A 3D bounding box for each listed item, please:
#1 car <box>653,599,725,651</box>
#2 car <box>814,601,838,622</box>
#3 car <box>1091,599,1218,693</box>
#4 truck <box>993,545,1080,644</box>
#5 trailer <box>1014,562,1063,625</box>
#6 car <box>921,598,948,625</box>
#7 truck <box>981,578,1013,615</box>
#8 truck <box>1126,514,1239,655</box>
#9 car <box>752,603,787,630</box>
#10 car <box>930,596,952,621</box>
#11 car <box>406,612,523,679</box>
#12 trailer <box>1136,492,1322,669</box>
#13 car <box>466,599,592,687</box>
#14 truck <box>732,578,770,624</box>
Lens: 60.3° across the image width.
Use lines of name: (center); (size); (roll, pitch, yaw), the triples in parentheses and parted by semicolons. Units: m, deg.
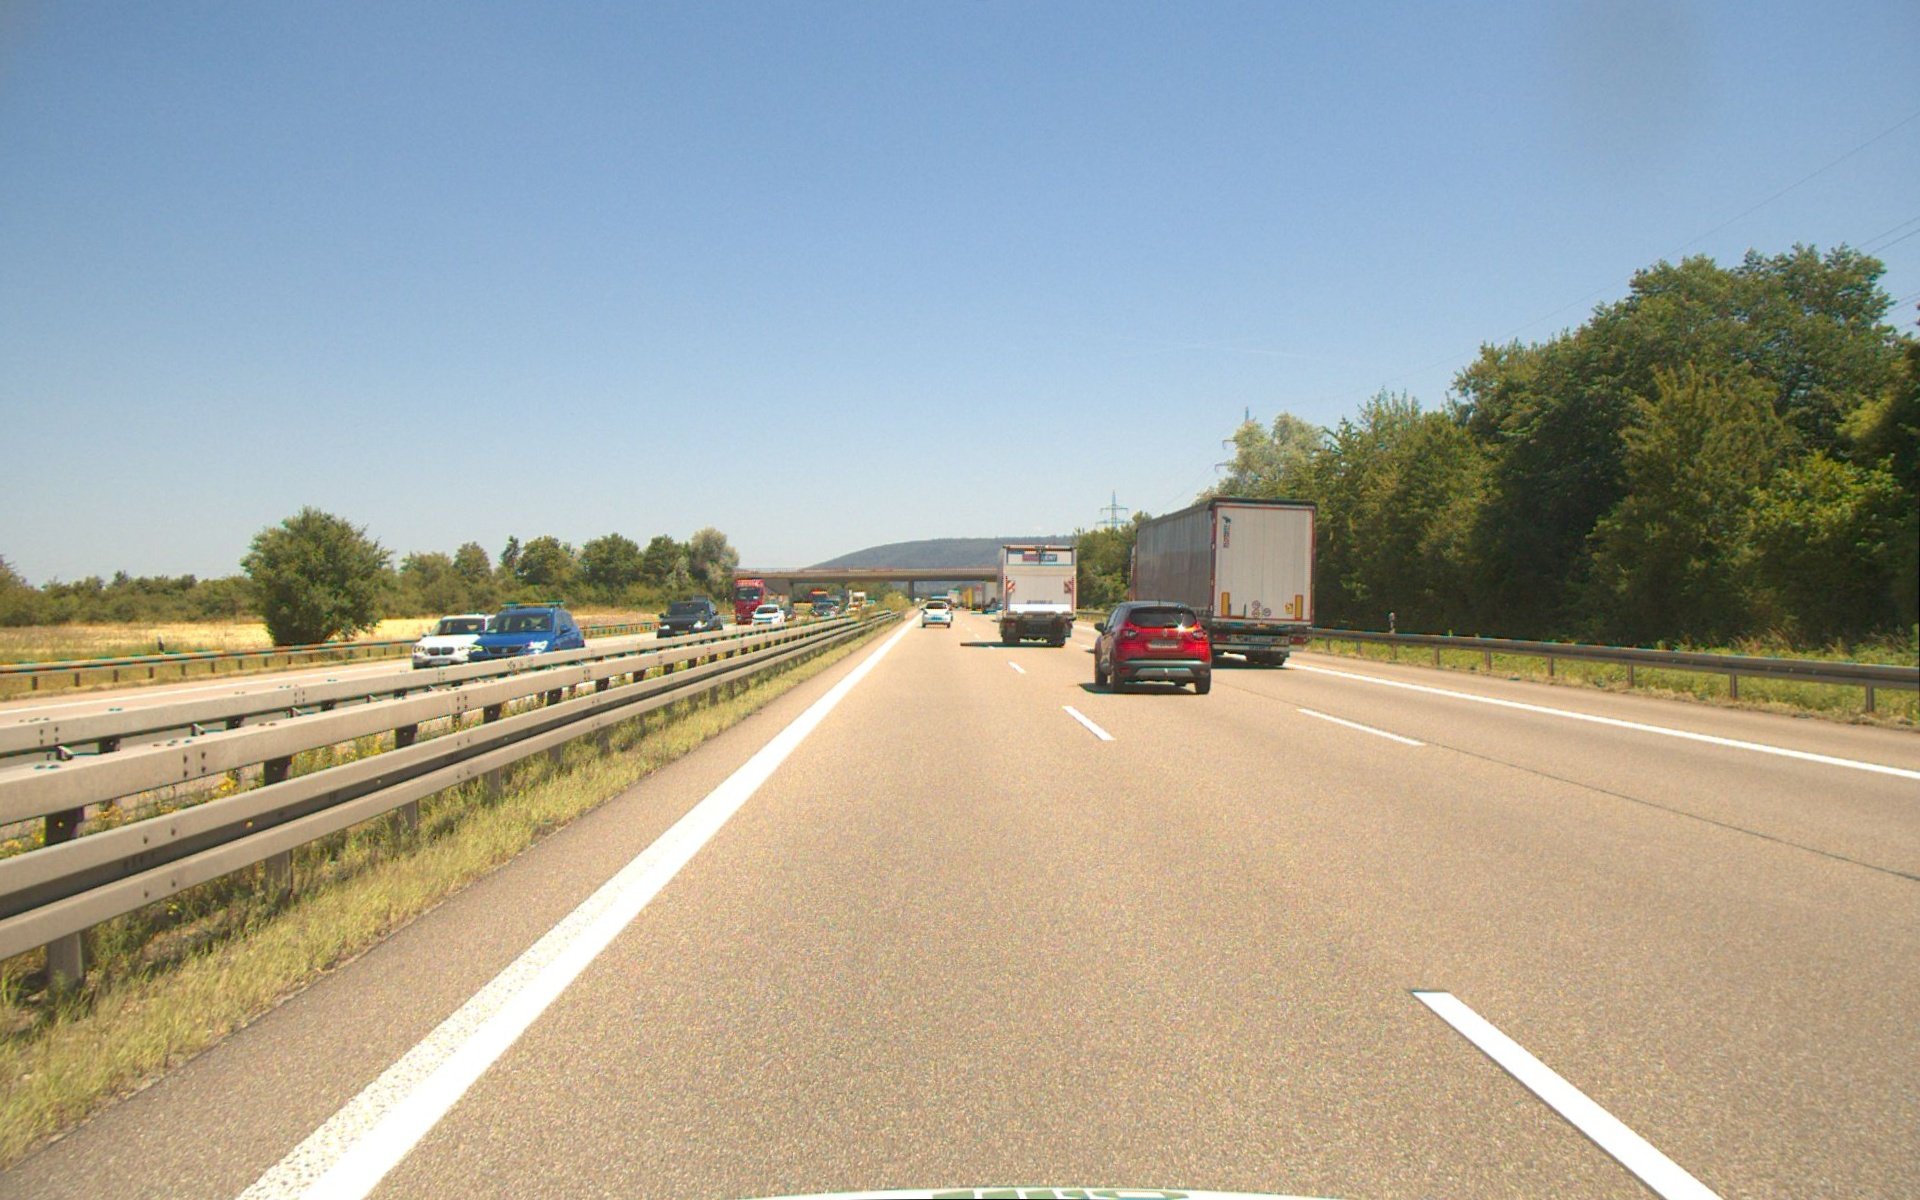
car: (-9.872, 0.881, 60.476); (1.919, 1.803, 4.442); (-1, 0, -1)
car: (-11.191, 0.970, 138.420); (1.772, 1.676, 3.960); (-2, 0, -1)
car: (3.430, 0.774, 29.785); (1.766, 1.572, 3.999); (0, 0, -1)
truck: (2.742, -0.179, 61.572); (2.726, 3.432, 8.125); (1, 0, -1)
trailer: (5.527, -0.419, 118.108); (2.738, 4.237, 13.953); (0, 0, 0)
car: (-1.488, 0.666, 97.221); (1.574, 1.493, 4.000); (0, 0, 0)
truck: (4.589, -0.428, 209.964); (3.449, 4.493, 14.588); (-1, 0, -1)
truck: (6.984, -0.466, 52.666); (2.738, 4.237, 5.721); (0, 0, -1)
car: (-11.576, 0.994, 100.686); (1.772, 1.563, 3.960); (-2, 0, -1)
car: (-1.471, 0.673, 129.700); (1.725, 1.883, 4.000); (0, 0, 0)
car: (-12.991, 1.155, 43.625); (1.841, 1.593, 4.191); (-2, 0, -1)
trailer: (7.131, -0.465, 46.230); (2.732, 4.237, 13.570); (0, 0, -1)
car: (-9.380, 0.893, 36.321); (1.731, 1.781, 3.985); (-2, 0, -1)
truck: (-19.144, 0.069, 151.946); (2.705, 4.084, 5.749); (-2, 0, -1)
